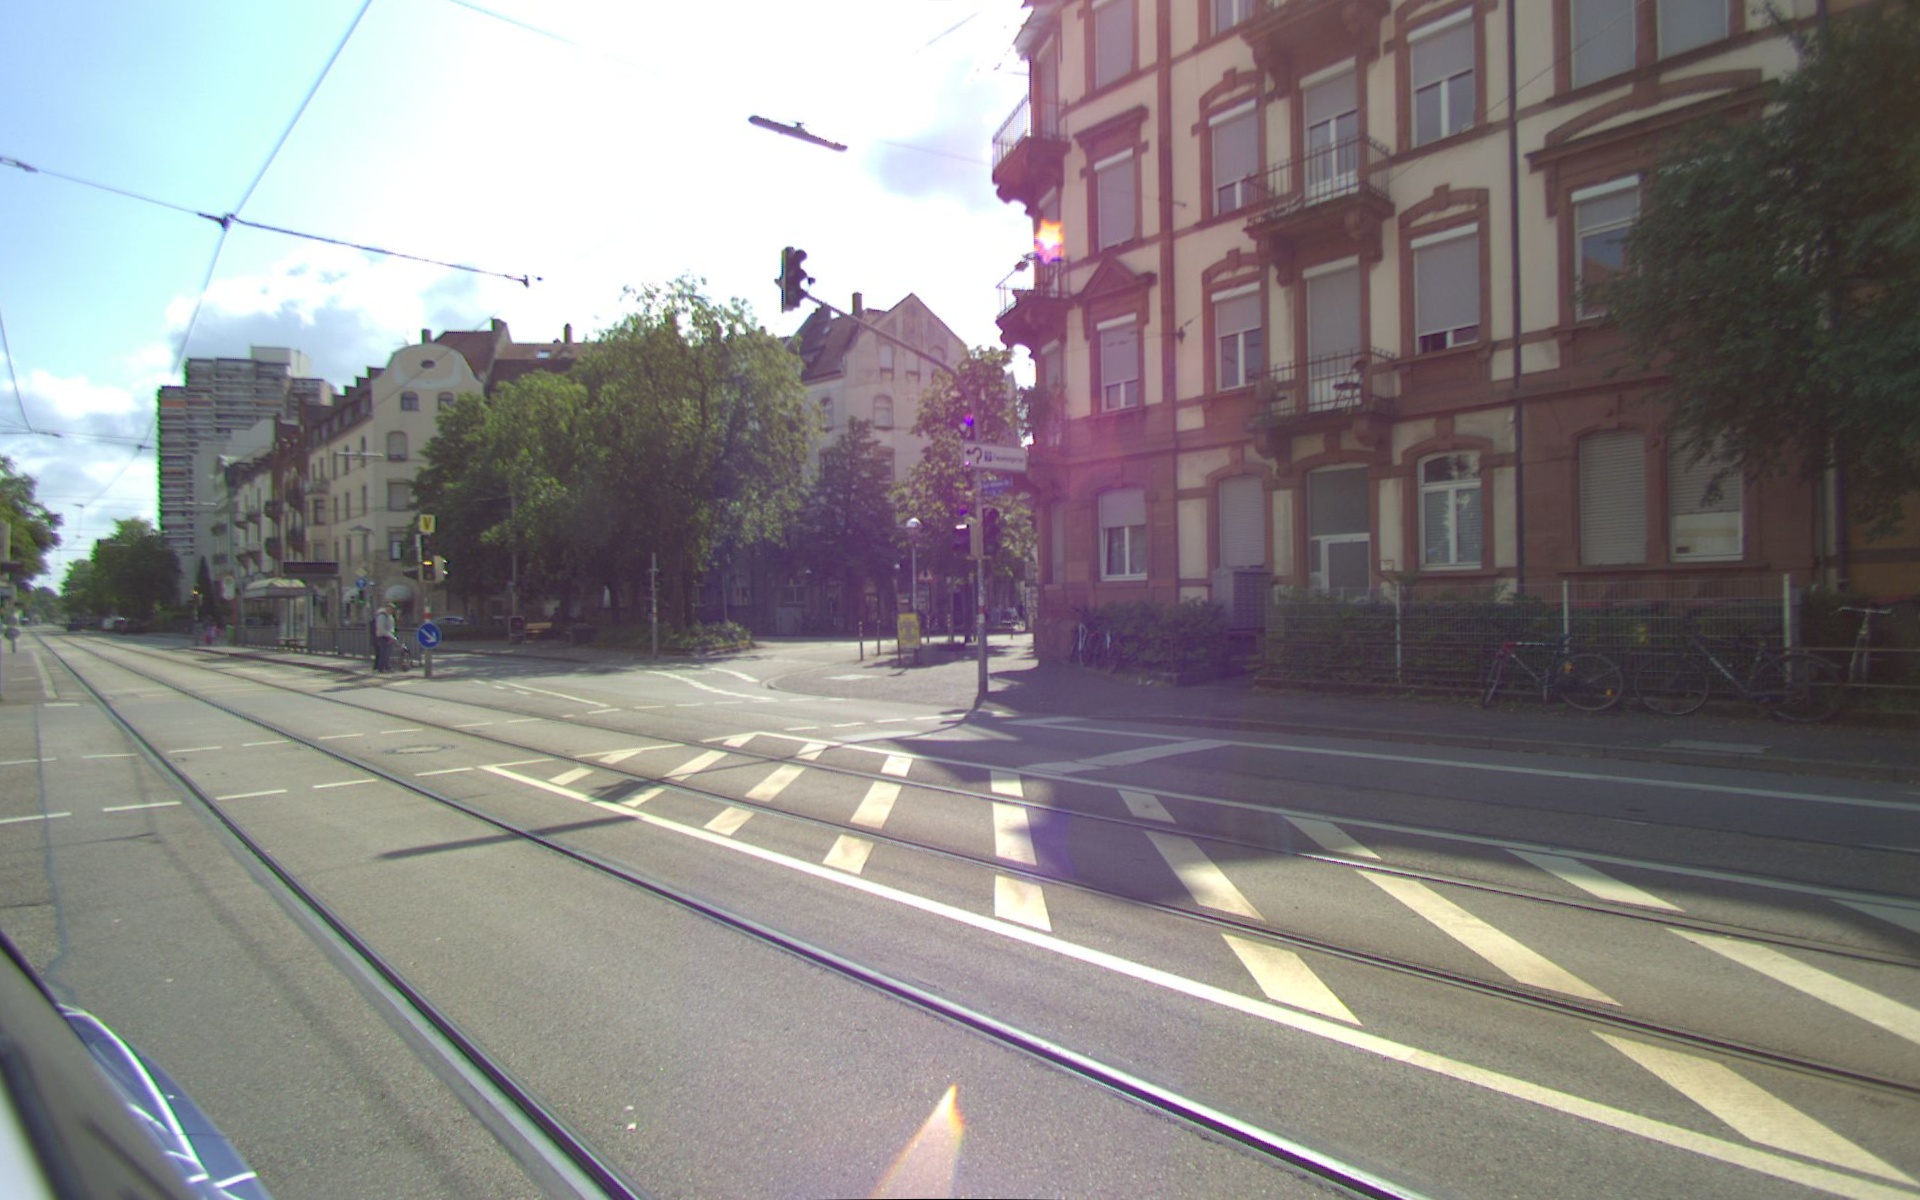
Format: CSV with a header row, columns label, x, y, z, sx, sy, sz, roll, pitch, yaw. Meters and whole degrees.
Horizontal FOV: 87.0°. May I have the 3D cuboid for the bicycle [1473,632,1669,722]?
label,x,y,z,sx,sy,sz,roll,pitch,yaw
bicycle,6.964,0.841,11.614,0.552,0.939,1.828,-1,-1,-40

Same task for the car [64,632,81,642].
label,x,y,z,sx,sy,sz,roll,pitch,yaw
car,-136.522,5.667,155.660,1.815,1.502,3.895,-1,-1,-43

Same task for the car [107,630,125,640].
label,x,y,z,sx,sy,sz,roll,pitch,yaw
car,-129.129,5.319,154.852,1.815,1.502,3.895,-1,-1,-43

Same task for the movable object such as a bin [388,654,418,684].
label,x,y,z,sx,sy,sz,roll,pitch,yaw
movable object such as a bin,-14.034,1.729,25.490,0.456,0.723,0.507,-2,-1,33

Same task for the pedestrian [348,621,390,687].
label,x,y,z,sx,sy,sz,roll,pitch,yaw
pedestrian,-14.606,1.314,25.016,0.584,1.586,0.708,-2,-1,33

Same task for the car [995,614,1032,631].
label,x,y,z,sx,sy,sz,roll,pitch,yaw
car,4.625,1.955,87.654,1.436,1.342,3.776,-1,-1,-27

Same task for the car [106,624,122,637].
label,x,y,z,sx,sy,sz,roll,pitch,yaw
car,-147.746,5.353,176.729,1.815,2.209,3.895,-1,-1,-43

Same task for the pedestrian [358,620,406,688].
label,x,y,z,sx,sy,sz,roll,pitch,yaw
pedestrian,-14.043,1.298,24.591,0.691,1.586,0.774,-2,-1,33

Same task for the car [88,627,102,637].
label,x,y,z,sx,sy,sz,roll,pitch,yaw
car,-158.577,5.914,185.459,1.815,1.823,3.895,-1,-1,-43

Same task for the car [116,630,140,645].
label,x,y,z,sx,sy,sz,roll,pitch,yaw
car,-92.421,4.171,112.355,1.815,1.502,3.895,-1,-1,-43

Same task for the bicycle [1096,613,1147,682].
label,x,y,z,sx,sy,sz,roll,pitch,yaw
bicycle,3.029,0.865,19.124,0.475,1.234,1.956,-1,-1,-5

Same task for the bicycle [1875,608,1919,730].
label,x,y,z,sx,sy,sz,roll,pitch,yaw
bicycle,9.528,0.661,10.092,1.290,1.140,0.497,-1,-1,-45

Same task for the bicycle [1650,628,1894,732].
label,x,y,z,sx,sy,sz,roll,pitch,yaw
bicycle,8.142,0.767,10.223,0.552,0.939,1.828,-1,-1,-40

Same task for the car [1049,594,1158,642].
label,x,y,z,sx,sy,sz,roll,pitch,yaw
car,6.167,0.748,43.480,4.192,1.922,2.006,-1,-1,-27

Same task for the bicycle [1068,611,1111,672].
label,x,y,z,sx,sy,sz,roll,pitch,yaw
bicycle,2.715,0.847,21.377,0.475,1.234,1.956,-1,-1,-5

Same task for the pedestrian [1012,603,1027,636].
label,x,y,z,sx,sy,sz,roll,pitch,yaw
pedestrian,3.773,1.240,64.292,0.690,2.029,0.707,-2,-1,34
